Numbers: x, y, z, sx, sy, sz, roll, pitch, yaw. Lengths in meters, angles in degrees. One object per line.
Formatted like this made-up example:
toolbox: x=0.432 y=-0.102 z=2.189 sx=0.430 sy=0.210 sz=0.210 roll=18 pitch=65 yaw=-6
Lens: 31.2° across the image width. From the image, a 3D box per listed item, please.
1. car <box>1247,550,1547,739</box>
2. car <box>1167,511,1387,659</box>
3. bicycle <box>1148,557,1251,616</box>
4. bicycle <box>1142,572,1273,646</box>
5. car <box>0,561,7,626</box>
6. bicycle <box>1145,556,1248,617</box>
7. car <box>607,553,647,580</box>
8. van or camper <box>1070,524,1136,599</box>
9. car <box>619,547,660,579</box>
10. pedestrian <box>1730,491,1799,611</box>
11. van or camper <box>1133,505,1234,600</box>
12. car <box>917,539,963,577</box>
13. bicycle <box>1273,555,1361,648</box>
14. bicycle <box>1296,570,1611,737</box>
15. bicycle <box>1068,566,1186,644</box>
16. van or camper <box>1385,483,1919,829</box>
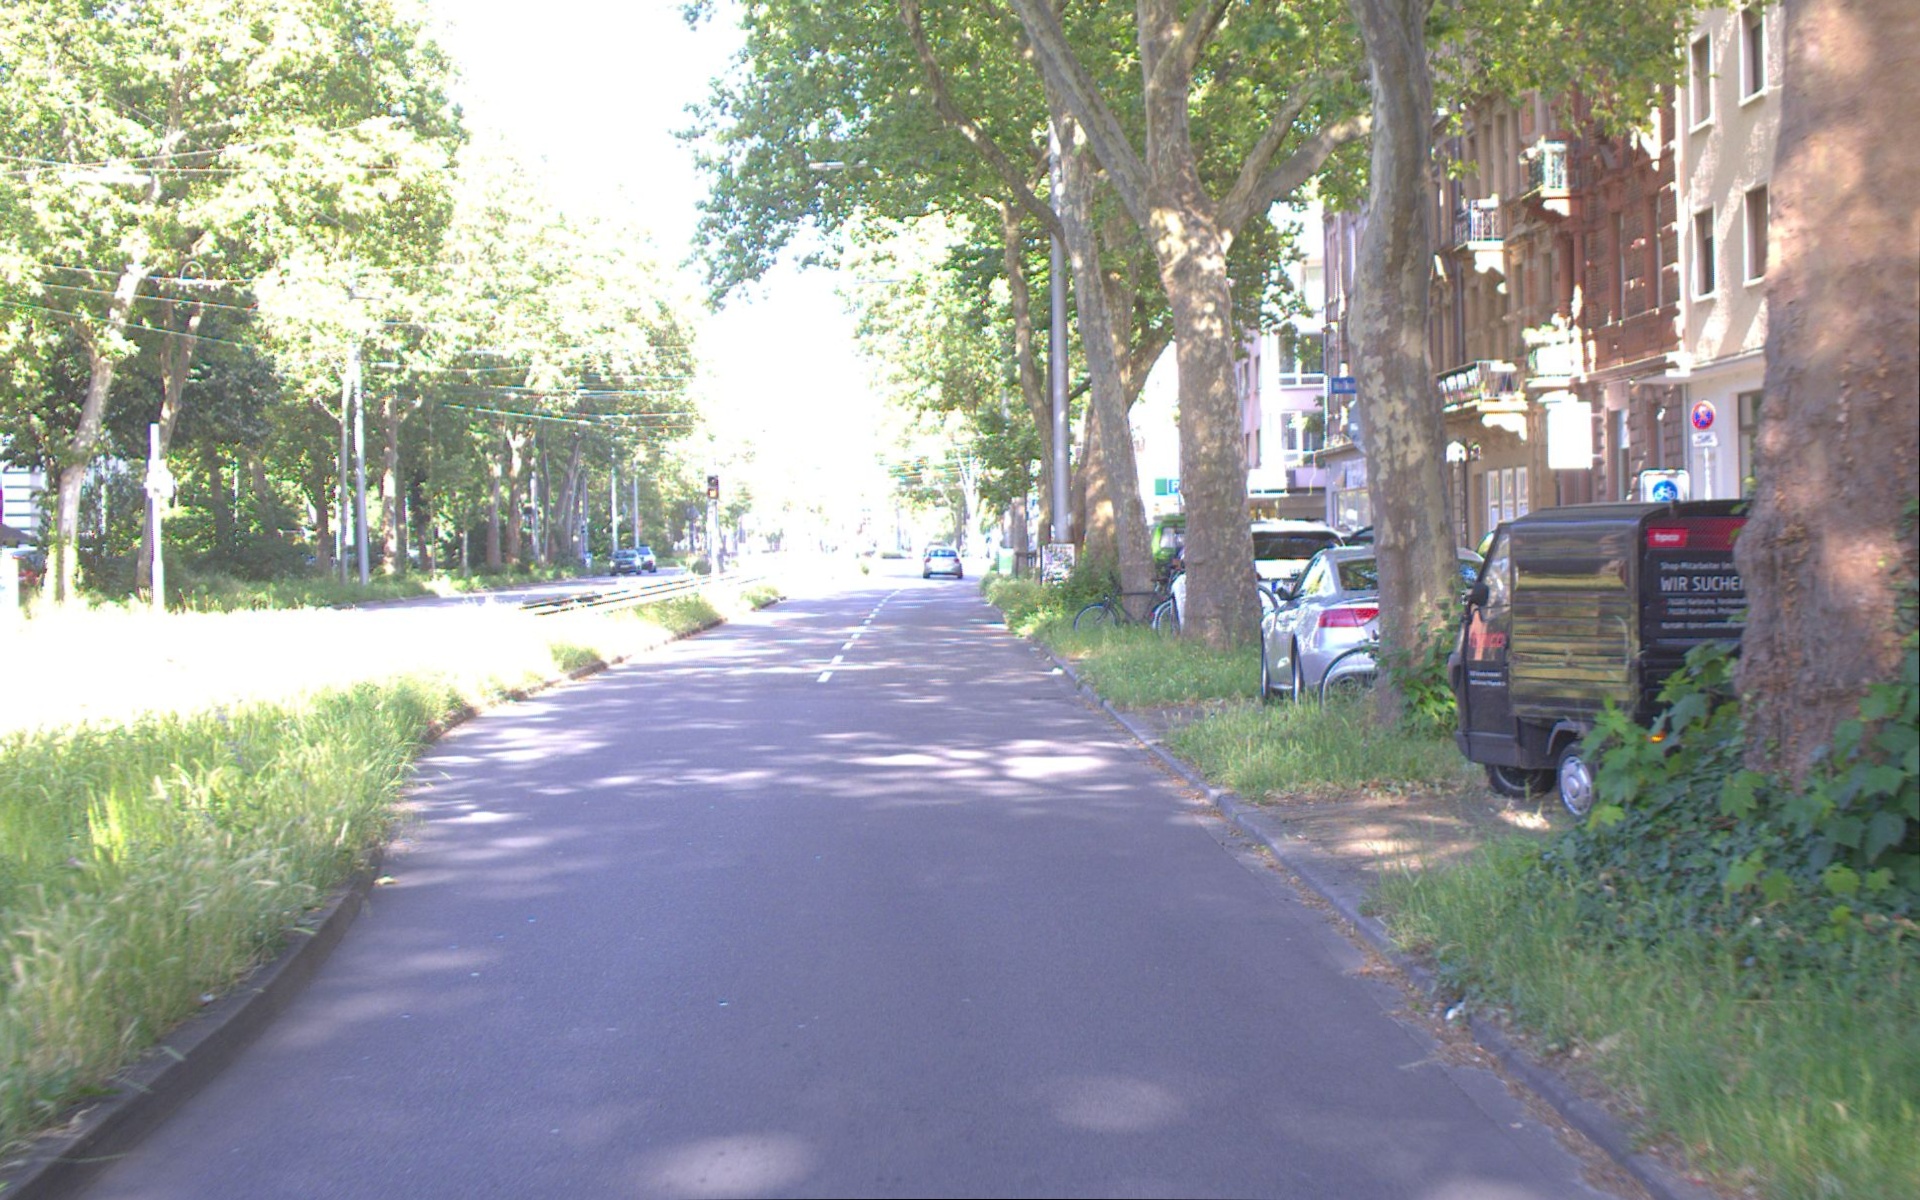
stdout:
car: x=3.464 y=0.299 z=28.098 sx=1.753 sy=1.393 sz=5.026 roll=0 pitch=1 yaw=-1
car: x=3.708 y=-0.204 z=41.027 sx=1.902 sy=1.630 sz=4.825 roll=-1 pitch=1 yaw=-3
bicycle: x=5.227 y=-0.298 z=75.116 sx=2.164 sy=1.290 sz=0.983 roll=0 pitch=1 yaw=0
bicycle: x=3.255 y=0.109 z=45.160 sx=1.759 sy=0.924 sz=0.654 roll=-1 pitch=1 yaw=-41
car: x=-27.614 y=-0.134 z=93.734 sx=2.108 sy=1.802 sz=4.739 roll=-1 pitch=1 yaw=-2
bicycle: x=5.081 y=-0.290 z=73.966 sx=2.164 sy=1.290 sz=0.983 roll=0 pitch=1 yaw=2
car: x=-19.728 y=-1.969 z=203.713 sx=1.795 sy=1.503 sz=4.338 roll=-3 pitch=0 yaw=1
van or camper: x=4.922 y=-1.327 z=118.771 sx=2.184 sy=2.472 sz=6.268 roll=1 pitch=0 yaw=2
car: x=-20.297 y=-2.351 z=218.075 sx=1.993 sy=1.864 sz=4.872 roll=-2 pitch=1 yaw=1
pedestrian: x=11.612 y=-0.704 z=49.659 sx=0.795 sy=1.698 sz=0.724 roll=-1 pitch=1 yaw=0
van or camper: x=5.247 y=-1.112 z=81.082 sx=1.833 sy=2.091 sz=4.775 roll=2 pitch=1 yaw=-2
car: x=-0.910 y=-1.903 z=155.987 sx=2.021 sy=1.656 sz=4.000 roll=-1 pitch=1 yaw=-1
bicycle: x=3.654 y=0.001 z=35.298 sx=0.639 sy=0.922 sz=2.165 roll=-1 pitch=1 yaw=-1
bicycle: x=3.416 y=0.363 z=23.881 sx=2.070 sy=1.120 sz=0.677 roll=-1 pitch=0 yaw=-1
bicycle: x=2.307 y=0.068 z=47.513 sx=1.594 sy=1.055 sz=0.404 roll=-1 pitch=1 yaw=7
van or camper: x=3.438 y=0.238 z=17.409 sx=1.500 sy=1.582 sz=2.841 roll=-1 pitch=1 yaw=-17
